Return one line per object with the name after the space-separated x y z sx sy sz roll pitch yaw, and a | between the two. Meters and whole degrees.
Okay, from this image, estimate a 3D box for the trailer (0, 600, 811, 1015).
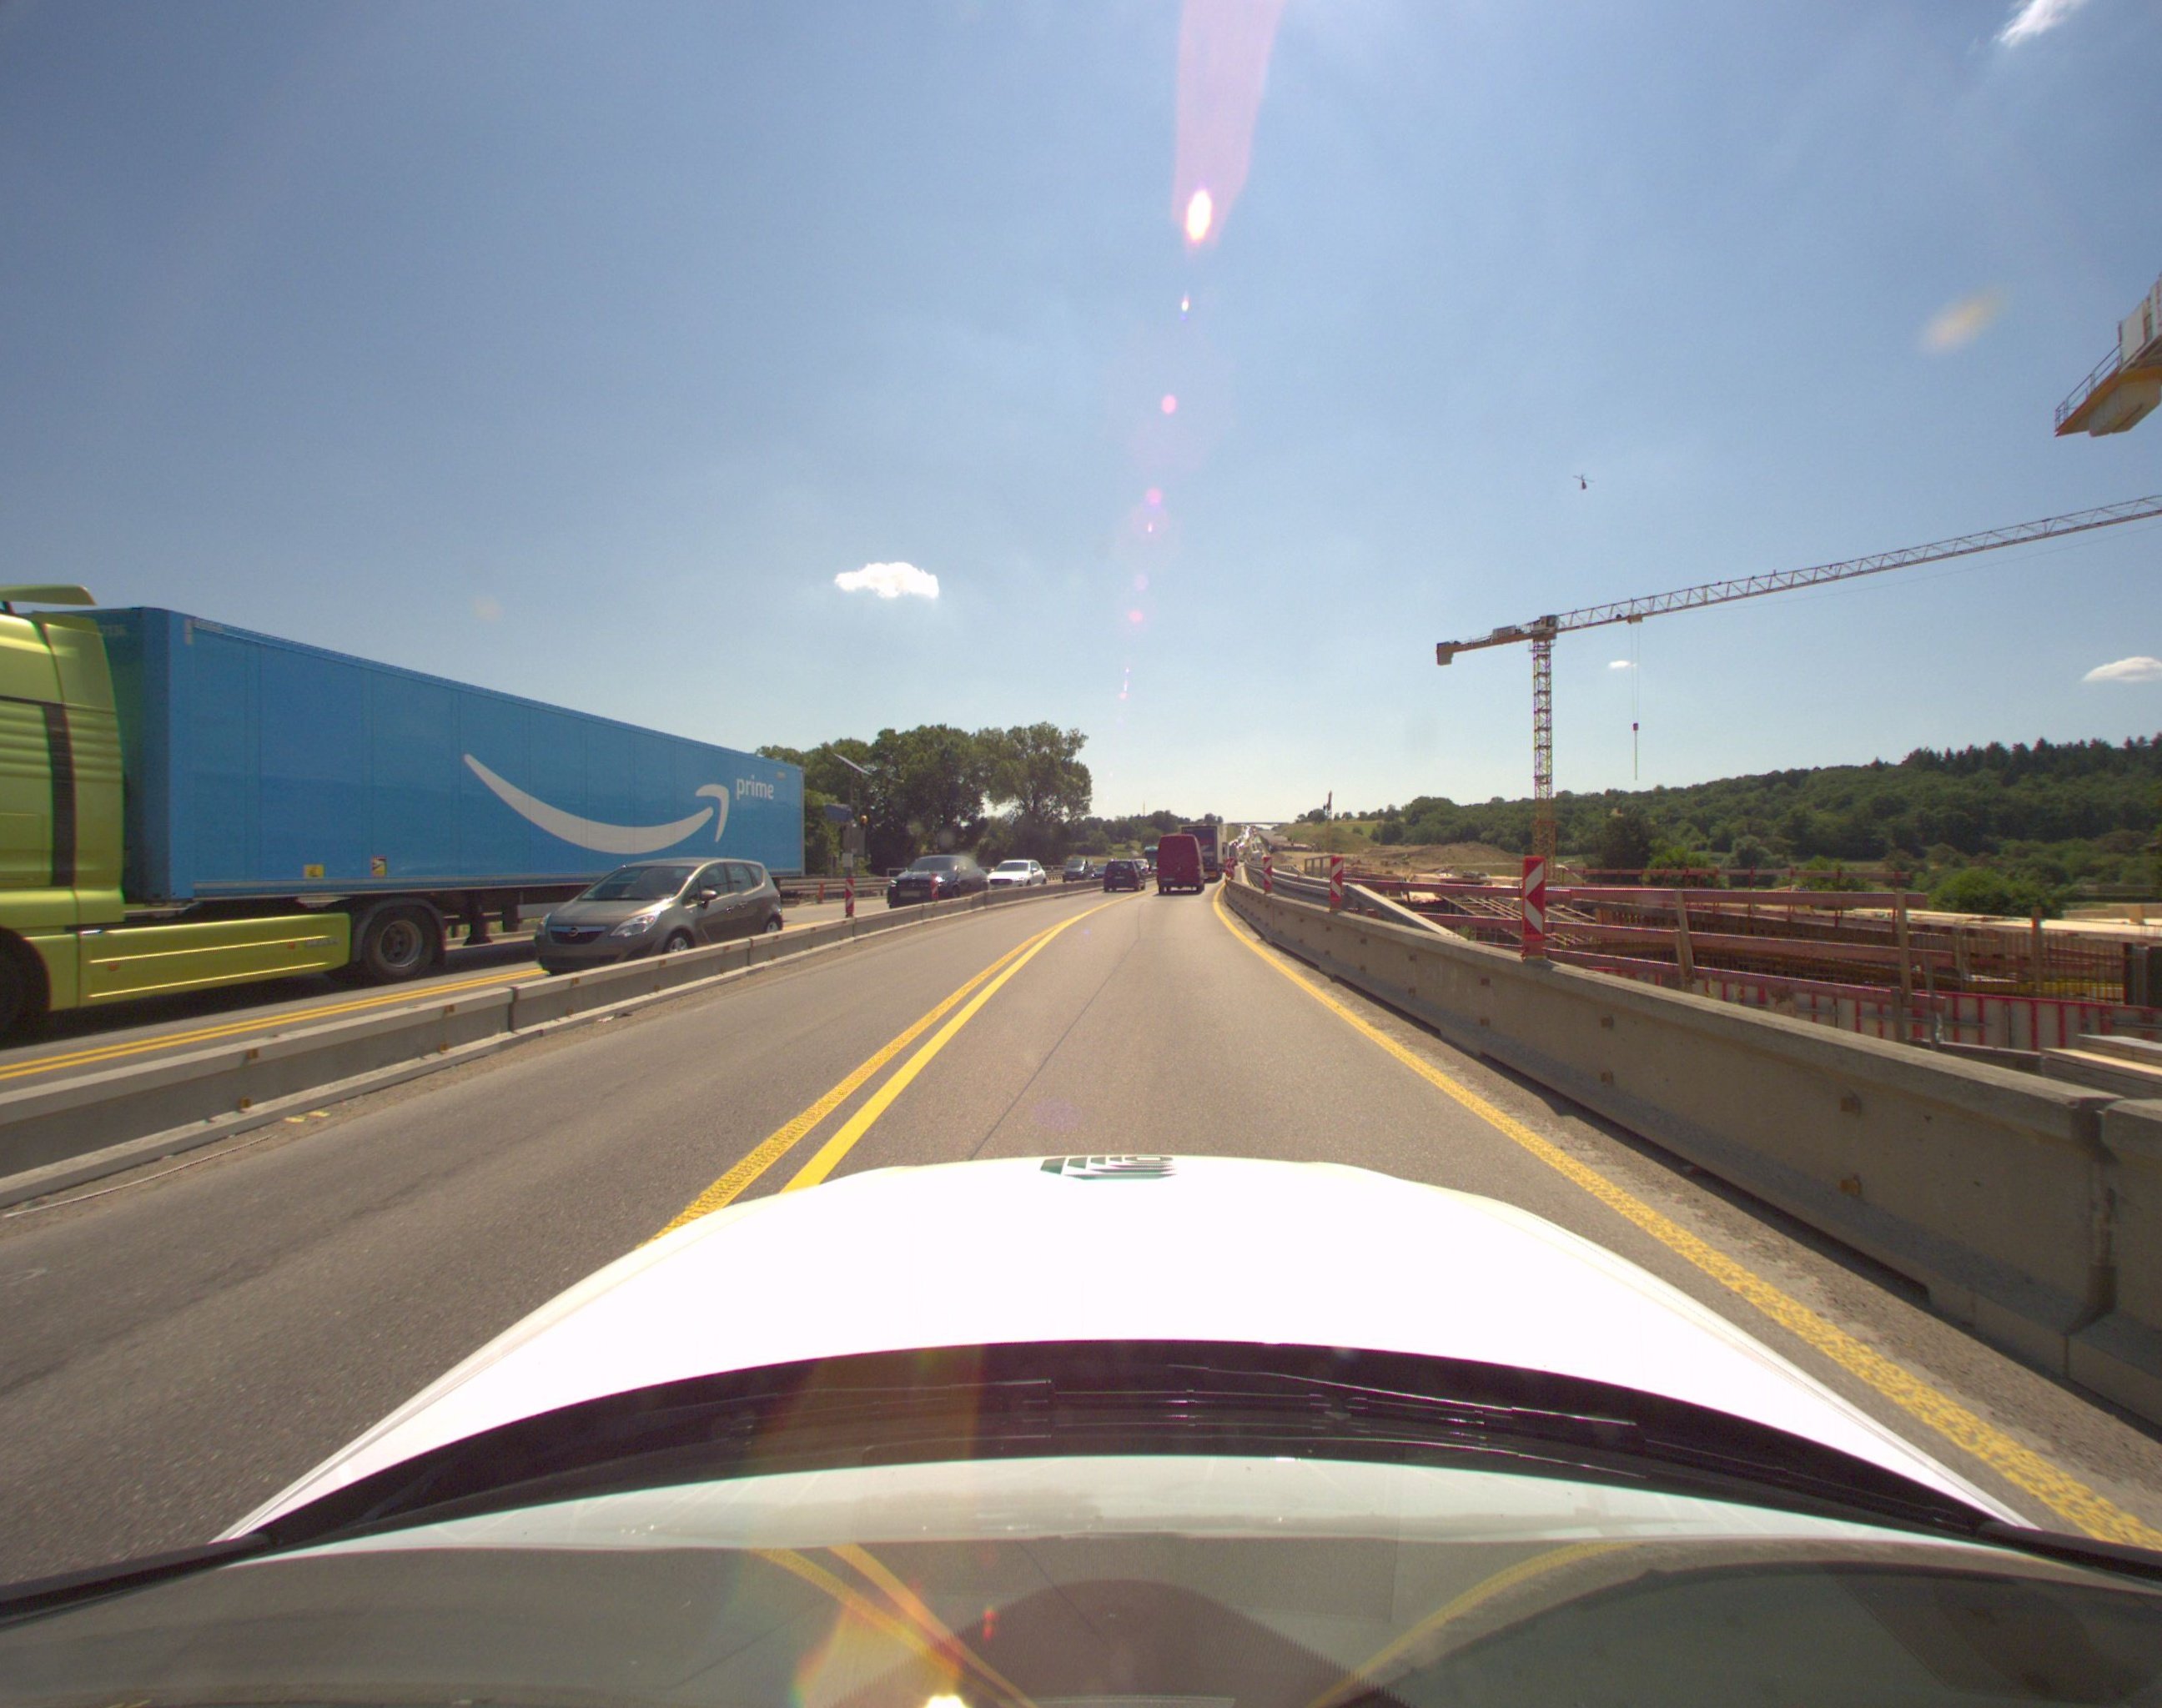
-9.335 -0.354 15.172 2.633 4.293 13.332 1 -1 7 | trailer

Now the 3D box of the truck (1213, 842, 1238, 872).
19.606 0.425 110.183 3.161 3.990 6.762 -1 -1 11 | truck

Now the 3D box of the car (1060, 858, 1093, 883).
-0.307 1.300 66.277 1.809 1.943 5.078 0 -1 10 | car

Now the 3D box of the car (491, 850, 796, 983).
-6.029 0.779 11.951 1.811 1.585 4.308 -1 -1 6 | car

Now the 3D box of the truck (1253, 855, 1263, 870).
48.668 2.294 223.971 2.276 3.740 6.499 -1 -5 11 | truck

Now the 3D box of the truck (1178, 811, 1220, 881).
8.955 -0.528 61.561 2.927 4.946 6.758 -1 -1 9 | truck

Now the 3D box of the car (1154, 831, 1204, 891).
4.627 0.413 38.356 2.138 2.611 5.448 0 -2 7 | car

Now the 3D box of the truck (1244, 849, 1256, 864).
37.107 0.665 179.249 2.277 3.196 6.500 -1 -1 10 | truck

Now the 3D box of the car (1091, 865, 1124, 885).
1.920 1.462 57.523 1.658 1.365 4.452 0 -1 10 | car

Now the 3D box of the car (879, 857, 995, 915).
-4.356 0.927 25.476 1.868 1.647 4.731 0 -1 13 | car

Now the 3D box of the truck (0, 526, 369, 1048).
-10.105 -0.542 7.471 2.613 4.271 4.737 1 -1 5 | truck

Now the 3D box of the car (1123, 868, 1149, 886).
4.903 2.039 71.924 1.746 1.496 4.452 0 -1 10 | car

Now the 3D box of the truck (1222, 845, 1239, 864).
30.340 0.154 165.039 3.163 2.978 8.922 -1 -4 11 | truck

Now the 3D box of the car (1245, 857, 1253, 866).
32.911 1.541 159.559 1.607 1.700 3.901 0 -1 11 | car

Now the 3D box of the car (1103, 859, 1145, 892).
2.301 1.088 42.456 1.723 1.635 4.400 0 -1 9 | car

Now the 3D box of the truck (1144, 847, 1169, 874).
11.762 1.095 125.797 2.791 3.964 12.167 0 -1 10 | truck

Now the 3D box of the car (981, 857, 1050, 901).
-2.726 1.022 35.245 1.809 1.647 4.584 0 1 11 | car
